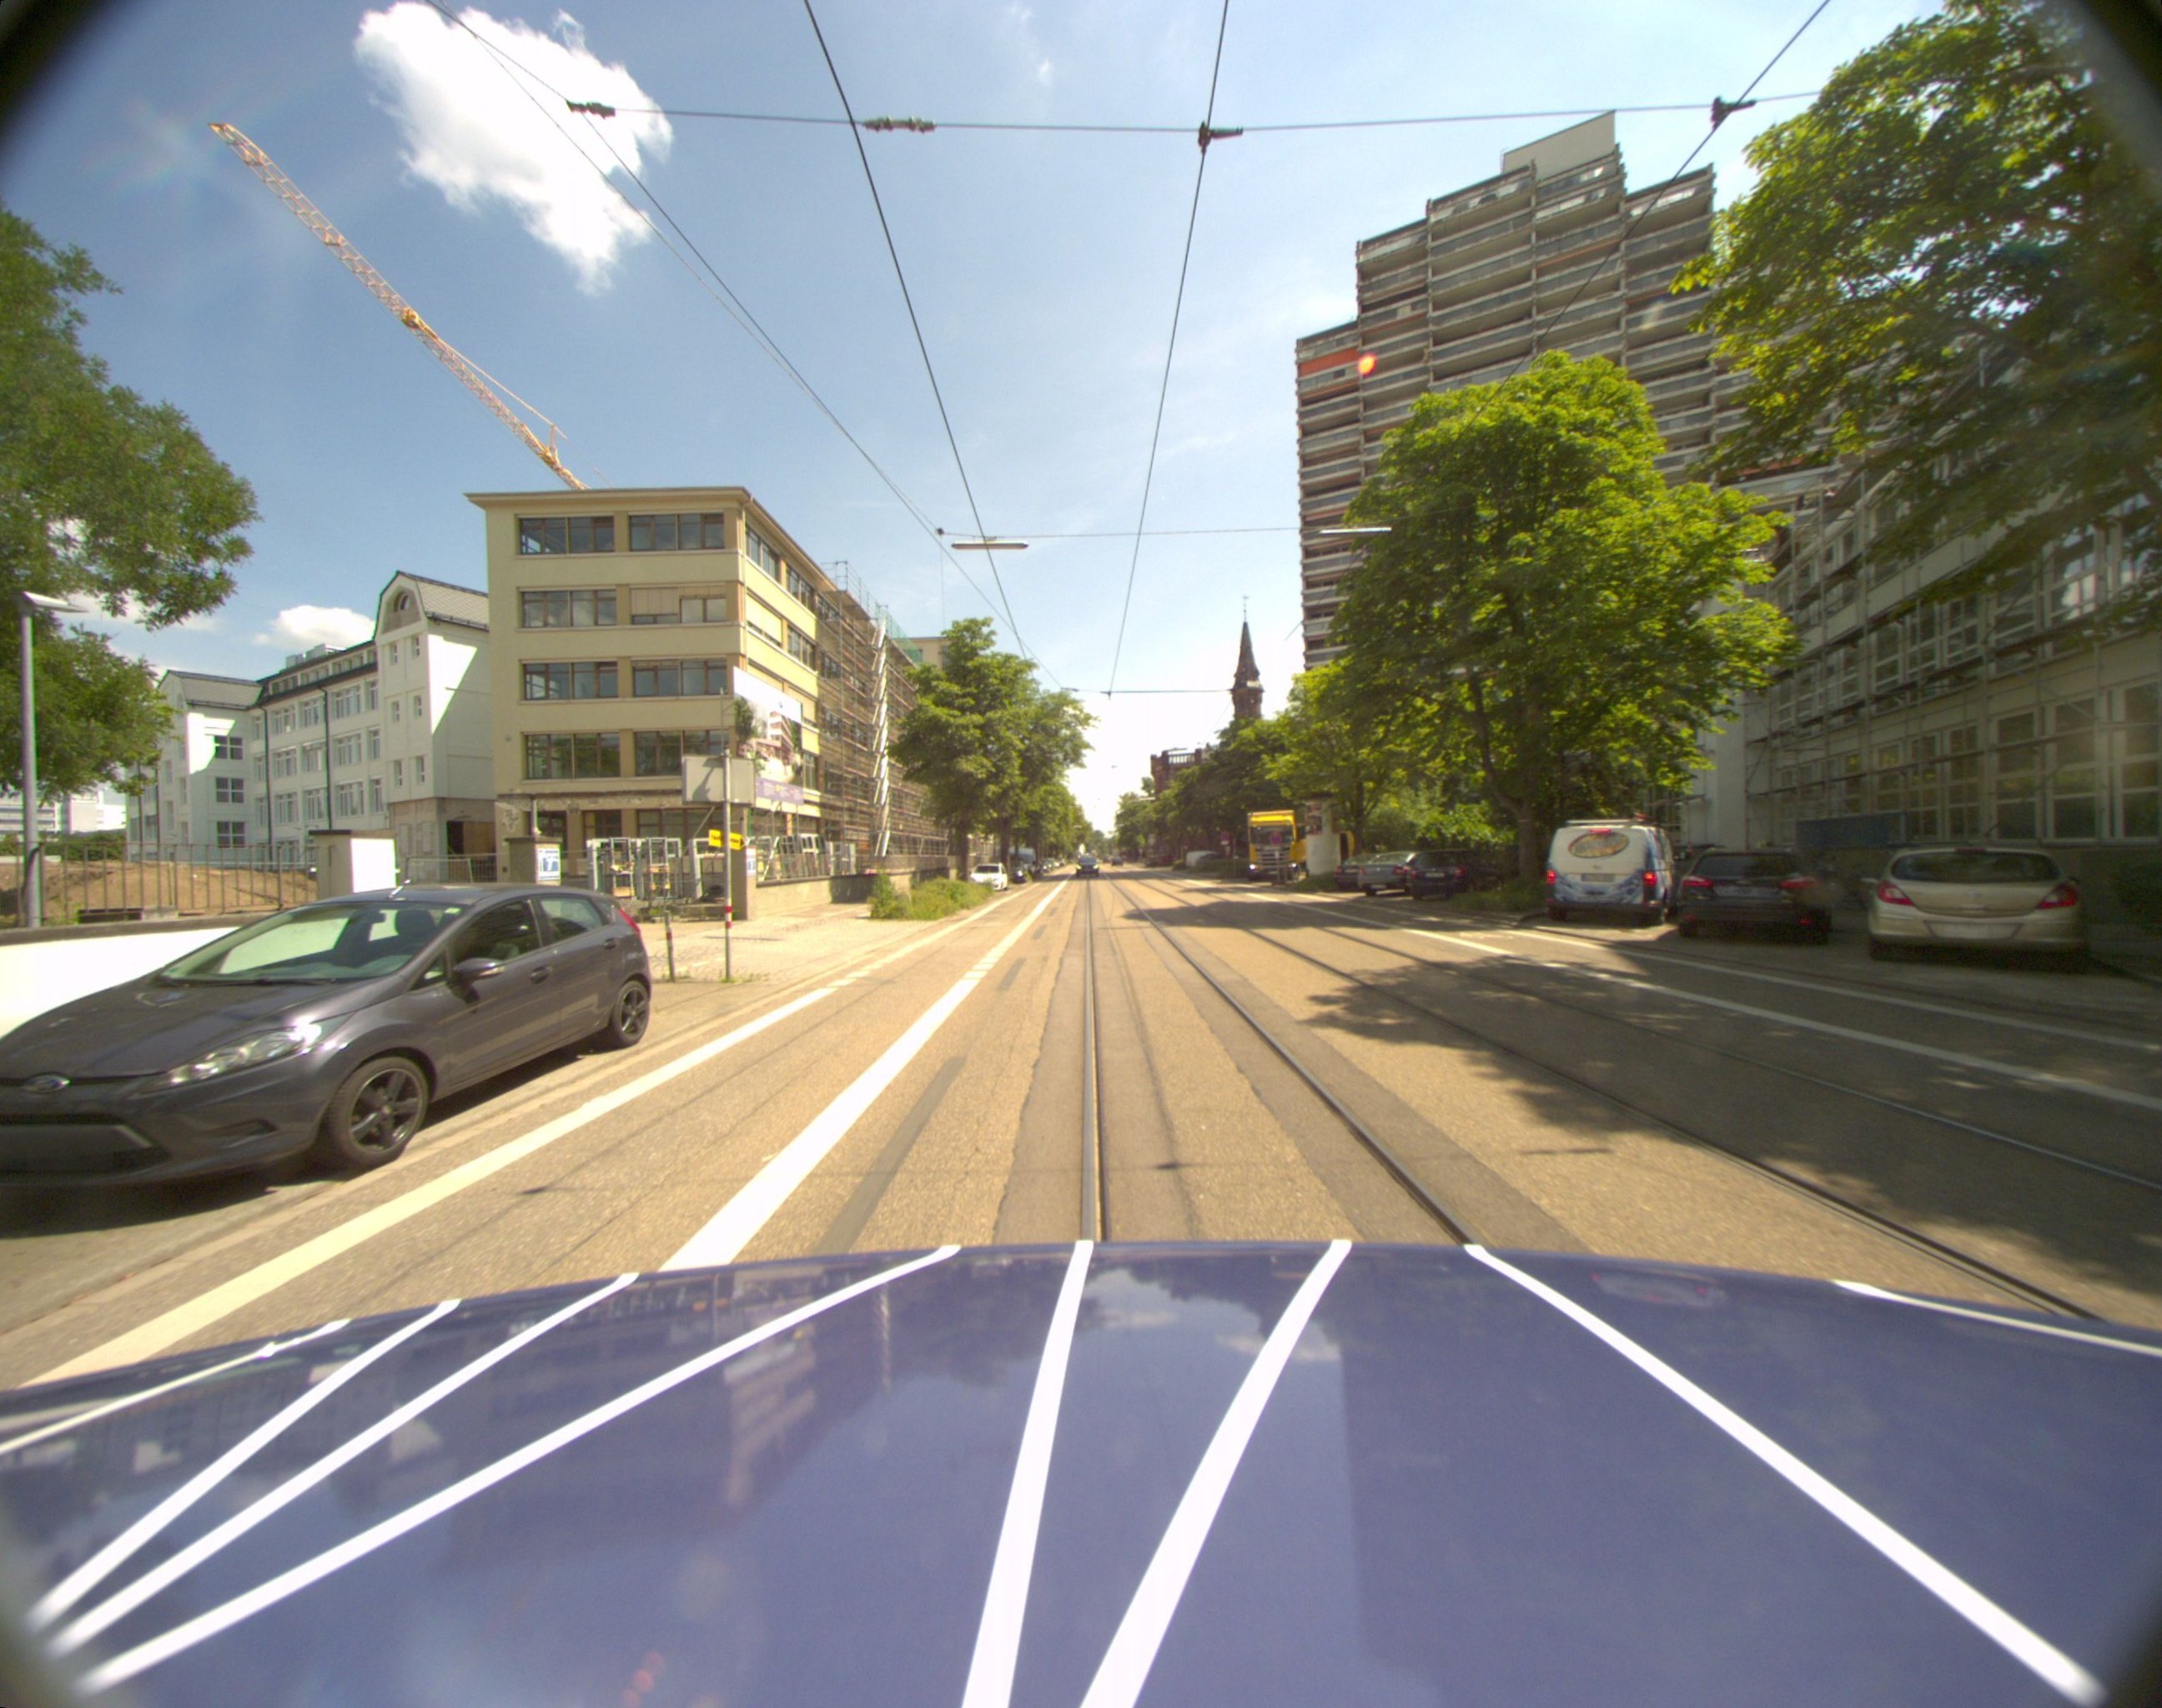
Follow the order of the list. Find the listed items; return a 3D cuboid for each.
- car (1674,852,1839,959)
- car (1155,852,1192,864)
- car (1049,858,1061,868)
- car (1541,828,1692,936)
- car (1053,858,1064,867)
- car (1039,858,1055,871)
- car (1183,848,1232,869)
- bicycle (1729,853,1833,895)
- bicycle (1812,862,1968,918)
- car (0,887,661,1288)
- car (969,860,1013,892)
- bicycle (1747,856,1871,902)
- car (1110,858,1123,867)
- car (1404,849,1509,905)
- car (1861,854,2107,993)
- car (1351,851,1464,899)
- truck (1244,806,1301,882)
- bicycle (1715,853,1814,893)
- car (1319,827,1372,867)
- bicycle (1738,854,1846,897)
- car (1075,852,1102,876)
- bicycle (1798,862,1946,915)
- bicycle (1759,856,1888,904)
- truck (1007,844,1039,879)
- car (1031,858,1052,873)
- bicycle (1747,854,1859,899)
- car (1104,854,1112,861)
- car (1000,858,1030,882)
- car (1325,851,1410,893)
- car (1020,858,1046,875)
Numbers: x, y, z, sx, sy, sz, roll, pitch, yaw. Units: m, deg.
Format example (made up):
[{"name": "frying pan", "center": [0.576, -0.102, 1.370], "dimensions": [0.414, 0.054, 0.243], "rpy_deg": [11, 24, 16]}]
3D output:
[{"name": "car", "center": [11.269, 0.721, 12.604], "dimensions": [1.812, 1.498, 3.717], "rpy_deg": [1, 1, 45]}, {"name": "car", "center": [13.128, 0.570, 107.563], "dimensions": [4.787, 1.557, 1.997], "rpy_deg": [-2, 0, -28]}, {"name": "car", "center": [-3.869, 1.352, 113.020], "dimensions": [1.676, 1.490, 4.365], "rpy_deg": [-1, 0, -3]}, {"name": "car", "center": [11.345, 0.485, 15.939], "dimensions": [1.916, 1.923, 4.767], "rpy_deg": [1, 1, 43]}, {"name": "car", "center": [-3.924, 1.502, 133.307], "dimensions": [1.675, 1.481, 3.980], "rpy_deg": [-1, 0, 0]}, {"name": "car", "center": [-4.034, 1.247, 90.561], "dimensions": [1.675, 1.429, 4.042], "rpy_deg": [-1, 0, 0]}, {"name": "car", "center": [12.459, 0.451, 74.953], "dimensions": [4.555, 1.780, 1.896], "rpy_deg": [-3, 0, -32]}, {"name": "bicycle", "center": [19.372, 0.564, 21.063], "dimensions": [2.013, 1.069, 0.558], "rpy_deg": [-3, 0, 26]}, {"name": "bicycle", "center": [16.744, 0.763, 15.799], "dimensions": [2.131, 1.069, 0.558], "rpy_deg": [-3, 0, 26]}, {"name": "car", "center": [-4.667, 1.069, 5.108], "dimensions": [1.643, 1.477, 3.871], "rpy_deg": [-1, 1, -3]}, {"name": "car", "center": [-4.579, 1.095, 39.036], "dimensions": [1.648, 1.525, 3.786], "rpy_deg": [-1, 0, 2]}, {"name": "bicycle", "center": [18.203, 0.639, 19.059], "dimensions": [2.131, 1.069, 0.558], "rpy_deg": [-3, 0, 26]}, {"name": "car", "center": [5.690, 1.303, 121.371], "dimensions": [1.779, 1.389, 4.287], "rpy_deg": [-2, 0, -1]}, {"name": "car", "center": [11.295, 0.635, 22.756], "dimensions": [3.717, 1.535, 1.687], "rpy_deg": [0, 0, -45]}, {"name": "car", "center": [11.509, 0.734, 9.948], "dimensions": [3.717, 1.459, 1.757], "rpy_deg": [0, 1, -45]}, {"name": "car", "center": [11.153, 0.656, 25.862], "dimensions": [4.212, 1.498, 1.869], "rpy_deg": [0, 0, -41]}, {"name": "truck", "center": [11.431, -0.612, 45.231], "dimensions": [2.719, 3.819, 10.974], "rpy_deg": [-3, 0, 15]}, {"name": "bicycle", "center": [19.687, 0.550, 21.935], "dimensions": [2.013, 1.069, 0.558], "rpy_deg": [-3, 0, 26]}, {"name": "car", "center": [18.632, -0.523, 53.321], "dimensions": [2.179, 2.551, 6.735], "rpy_deg": [-2, 1, 30]}, {"name": "bicycle", "center": [19.090, 0.583, 20.439], "dimensions": [2.013, 1.069, 0.558], "rpy_deg": [-3, 0, 26]}, {"name": "car", "center": [0.608, 0.797, 60.643], "dimensions": [1.998, 1.731, 4.227], "rpy_deg": [-3, 0, 0]}, {"name": "bicycle", "center": [17.023, 0.752, 16.420], "dimensions": [2.131, 1.069, 0.558], "rpy_deg": [-3, 0, 26]}, {"name": "bicycle", "center": [17.921, 0.646, 18.399], "dimensions": [2.131, 1.069, 0.558], "rpy_deg": [-3, 0, 26]}, {"name": "truck", "center": [-4.423, 0.560, 58.927], "dimensions": [2.019, 2.474, 5.956], "rpy_deg": [-1, 0, 0]}, {"name": "car", "center": [-4.162, 1.159, 80.280], "dimensions": [1.829, 1.463, 4.487], "rpy_deg": [-1, 0, 2]}, {"name": "bicycle", "center": [18.828, 0.598, 19.875], "dimensions": [2.013, 1.069, 0.558], "rpy_deg": [-3, 0, 26]}, {"name": "car", "center": [6.483, 0.831, 184.564], "dimensions": [1.835, 1.671, 4.184], "rpy_deg": [-1, 0, 1]}, {"name": "car", "center": [-4.406, 1.037, 51.029], "dimensions": [1.648, 1.525, 3.947], "rpy_deg": [-1, 0, 0]}, {"name": "car", "center": [11.068, 0.657, 29.259], "dimensions": [1.757, 1.498, 3.717], "rpy_deg": [0, 0, 43]}, {"name": "car", "center": [-4.315, 1.128, 69.397], "dimensions": [1.828, 1.463, 4.401], "rpy_deg": [-1, 0, 3]}]
